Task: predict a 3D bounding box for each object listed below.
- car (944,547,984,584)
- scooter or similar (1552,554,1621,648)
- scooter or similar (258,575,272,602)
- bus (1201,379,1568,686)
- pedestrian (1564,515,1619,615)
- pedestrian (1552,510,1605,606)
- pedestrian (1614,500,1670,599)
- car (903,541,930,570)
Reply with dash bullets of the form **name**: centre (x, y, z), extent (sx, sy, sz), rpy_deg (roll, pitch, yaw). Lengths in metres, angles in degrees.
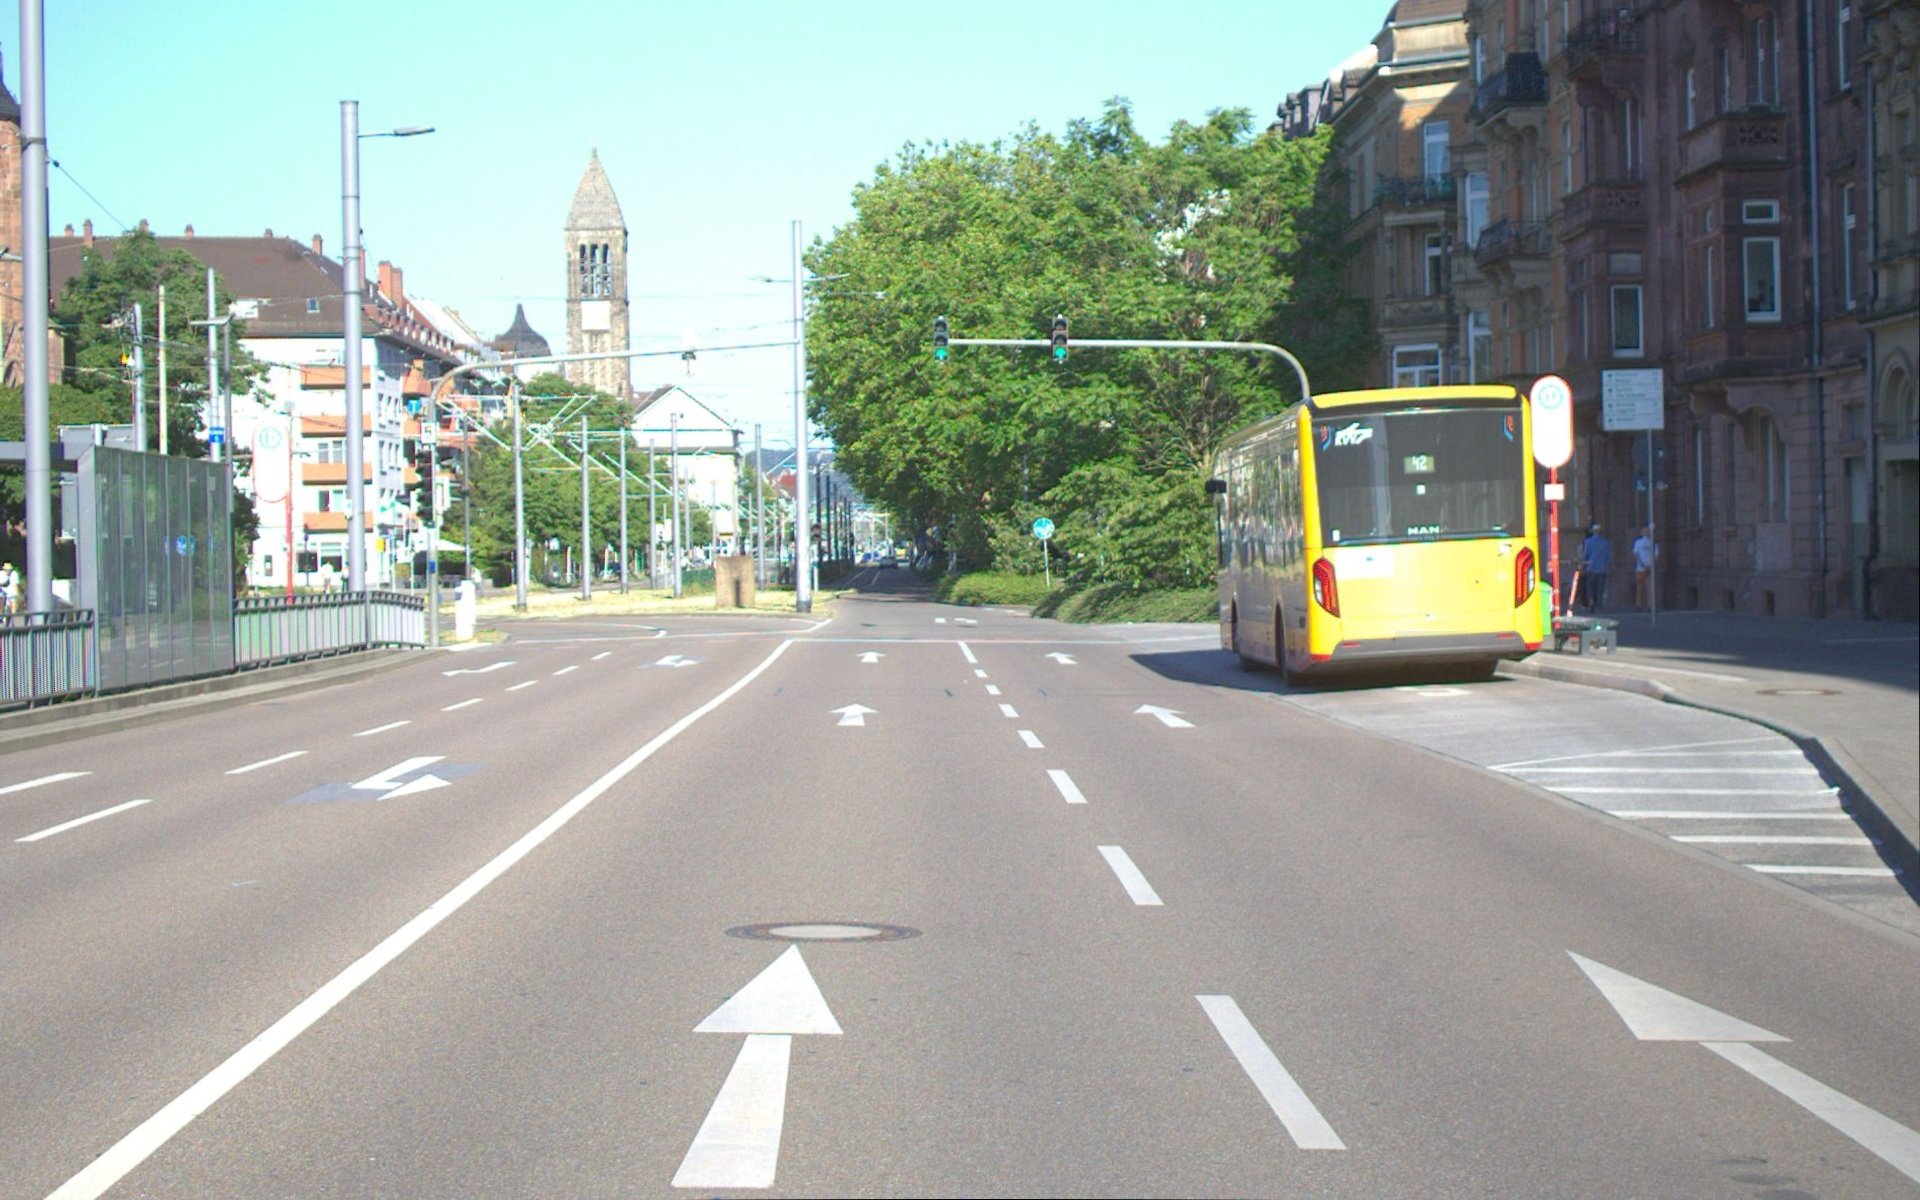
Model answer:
- **car**: centre (0.177, -1.493, 148.958), extent (1.643, 1.506, 4.183), rpy_deg (-2, 1, 0)
- **scooter or similar**: centre (8.493, 0.021, 46.646), extent (0.431, 1.245, 1.295), rpy_deg (-3, 0, -10)
- **scooter or similar**: centre (-33.723, -0.567, 166.774), extent (0.401, 1.256, 1.231), rpy_deg (-2, 4, 0)
- **bus**: centre (4.970, -0.828, 42.960), extent (2.715, 3.170, 12.542), rpy_deg (-2, 1, -1)
- **pedestrian**: centre (12.408, -0.690, 67.581), extent (0.822, 1.923, 1.137), rpy_deg (-1, 1, -1)
- **pedestrian**: centre (12.647, -0.858, 70.373), extent (0.822, 1.923, 1.137), rpy_deg (-1, 1, -1)
- **pedestrian**: centre (13.396, -0.992, 67.591), extent (0.822, 1.923, 1.137), rpy_deg (-1, 1, -1)
- **car**: centre (-3.277, -3.326, 258.510), extent (1.993, 2.100, 4.000), rpy_deg (1, 0, 0)
